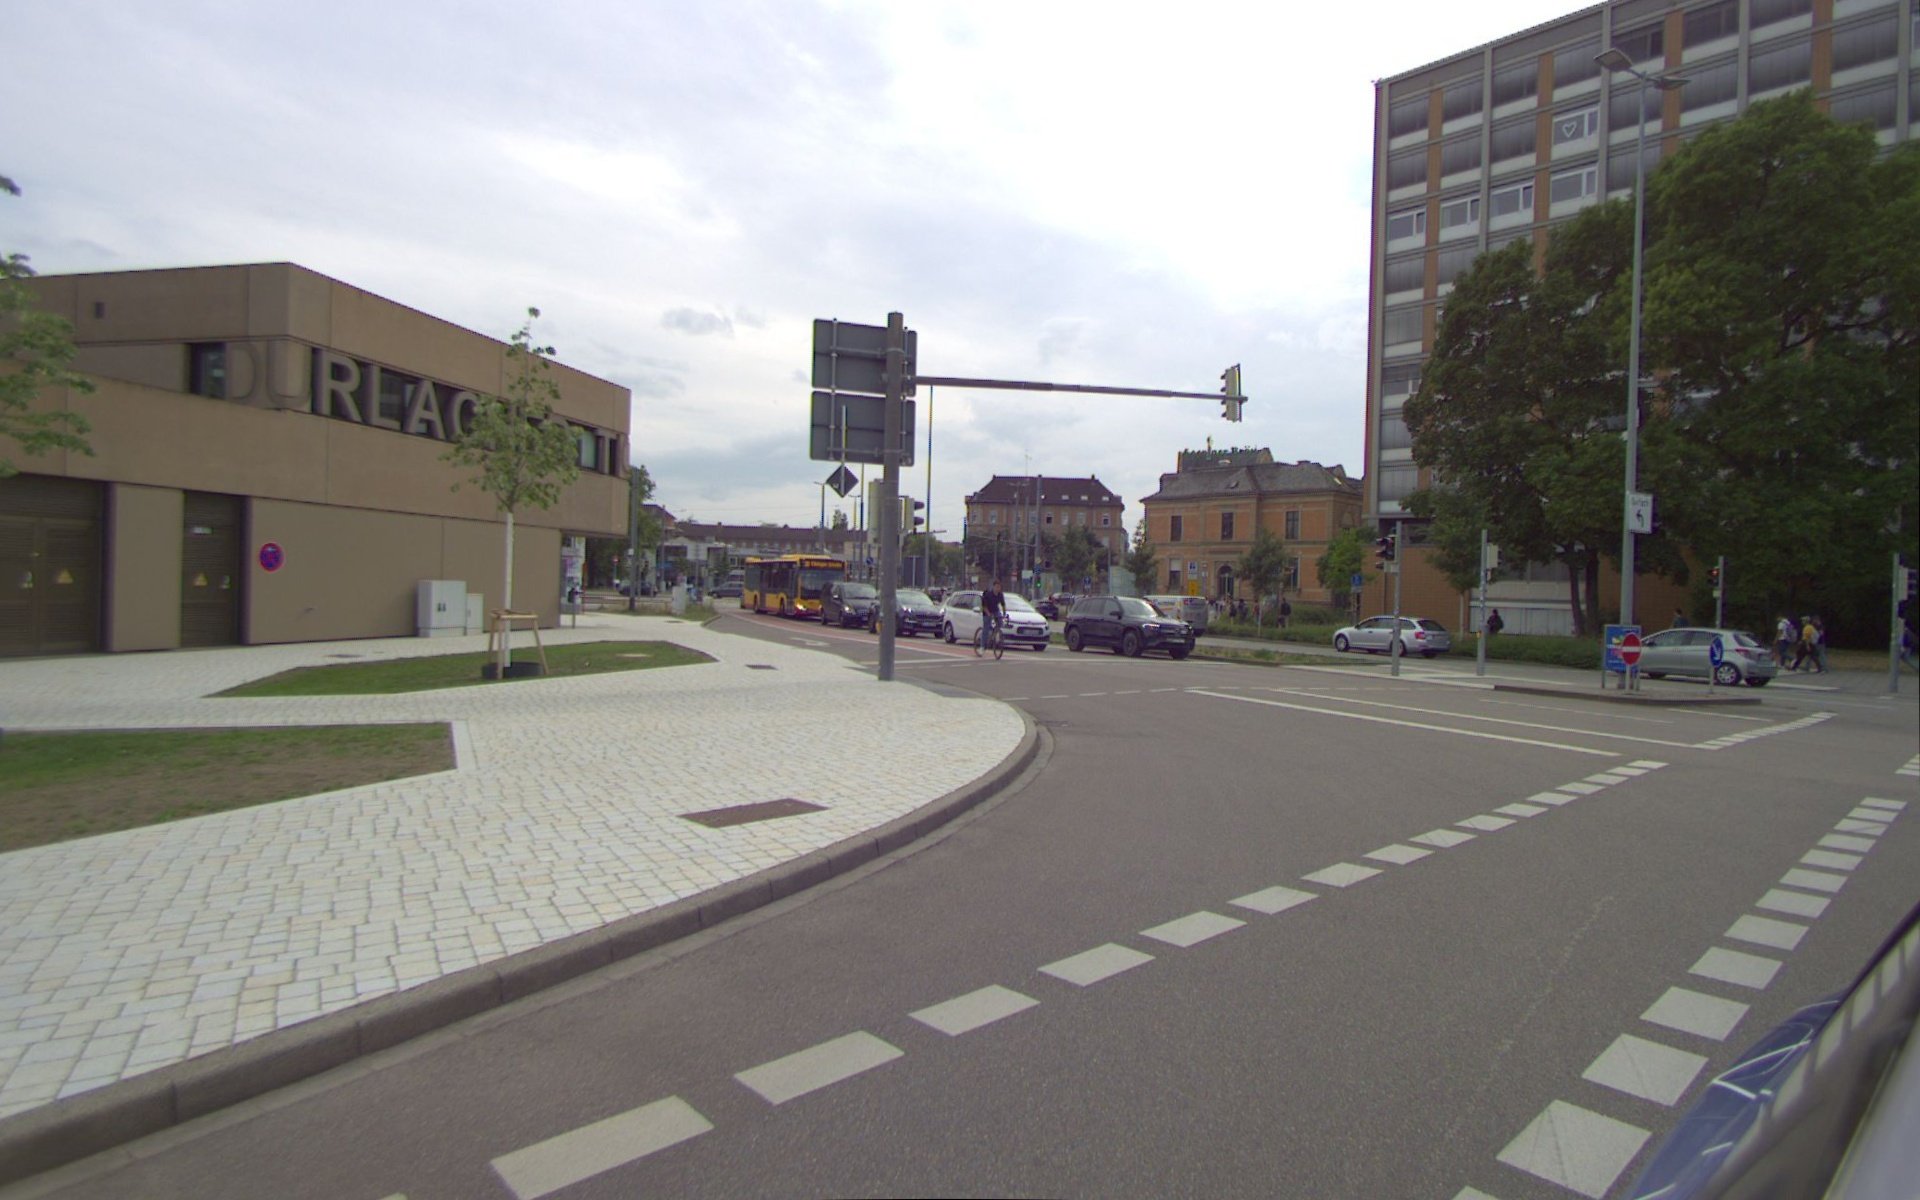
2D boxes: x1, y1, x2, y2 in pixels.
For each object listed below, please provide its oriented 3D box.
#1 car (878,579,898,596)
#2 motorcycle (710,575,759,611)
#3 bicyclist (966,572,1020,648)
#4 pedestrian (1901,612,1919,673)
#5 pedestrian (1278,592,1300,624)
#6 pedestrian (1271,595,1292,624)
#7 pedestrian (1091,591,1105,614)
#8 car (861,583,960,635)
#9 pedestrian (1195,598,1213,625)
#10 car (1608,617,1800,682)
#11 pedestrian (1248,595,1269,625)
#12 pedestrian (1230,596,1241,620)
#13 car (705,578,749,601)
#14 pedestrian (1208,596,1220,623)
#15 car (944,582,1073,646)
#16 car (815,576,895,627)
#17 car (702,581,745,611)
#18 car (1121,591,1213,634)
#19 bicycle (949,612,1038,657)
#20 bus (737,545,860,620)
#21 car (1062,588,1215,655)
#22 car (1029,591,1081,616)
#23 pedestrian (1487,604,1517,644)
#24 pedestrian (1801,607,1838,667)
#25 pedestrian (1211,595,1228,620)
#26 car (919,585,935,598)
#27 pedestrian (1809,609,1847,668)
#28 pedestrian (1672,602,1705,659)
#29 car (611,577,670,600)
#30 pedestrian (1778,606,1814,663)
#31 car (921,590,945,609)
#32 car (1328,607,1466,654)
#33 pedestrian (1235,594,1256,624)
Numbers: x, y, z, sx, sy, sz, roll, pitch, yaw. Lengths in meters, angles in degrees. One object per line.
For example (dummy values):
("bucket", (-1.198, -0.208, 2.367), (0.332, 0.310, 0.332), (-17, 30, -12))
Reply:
("car", (-8.691, -1.512, 122.433), (1.959, 1.948, 4.006), (3, -1, -9))
("motorcycle", (-14.060, -0.449, 62.867), (1.959, 2.039, 4.006), (3, -1, -27))
("bicyclist", (0.757, 0.226, 23.410), (0.852, 1.690, 0.882), (3, -1, -30))
("pedestrian", (27.609, 1.220, 29.084), (0.628, 1.732, 0.708), (-1, 1, -36))
("pedestrian", (17.130, 0.409, 52.694), (0.764, 1.593, 0.814), (0, 1, -17))
("pedestrian", (17.980, 0.549, 56.618), (0.764, 1.593, 0.814), (0, 1, -13))
("pedestrian", (9.696, 0.150, 71.176), (0.764, 1.593, 0.814), (0, 1, -13))
("car", (-1.837, 0.289, 36.085), (1.958, 1.672, 4.298), (3, -1, -25))
("pedestrian", (14.788, 0.702, 61.387), (0.764, 1.593, 0.814), (0, 1, -13))
("car", (20.212, 1.301, 27.673), (1.637, 1.508, 3.882), (3, -1, -26))
("pedestrian", (16.403, 0.555, 55.665), (0.764, 1.593, 0.814), (0, 1, -17))
("pedestrian", (15.723, 0.469, 57.686), (0.541, 1.358, 0.548), (0, 1, 9))
("car", (-23.357, -1.045, 101.562), (3.922, 2.039, 2.001), (3, -1, -3))
("pedestrian", (15.027, 0.556, 59.844), (0.546, 1.555, 0.543), (1, 1, 31))
("car", (1.320, 0.380, 29.704), (1.958, 1.672, 4.298), (3, -1, -25))
("car", (-4.440, 0.029, 42.147), (1.958, 1.923, 4.298), (3, -1, -25))
("car", (-16.197, -0.274, 69.097), (1.958, 1.923, 4.298), (3, -1, -25))
("car", (10.350, 0.584, 50.993), (1.787, 1.984, 5.215), (3, -1, -23))
("bicycle", (0.731, 0.781, 23.421), (0.847, 0.888, 2.522), (3, -1, -29))
("bus", (-8.594, -0.841, 52.060), (3.092, 3.296, 12.436), (3, -1, -23))
("car", (4.907, 0.550, 28.481), (1.958, 1.672, 4.520), (3, -1, -25))
("car", (6.199, 0.212, 66.556), (1.824, 1.552, 4.010), (3, -1, -20))
("pedestrian", (22.125, 0.969, 41.287), (0.766, 1.593, 0.812), (0, 1, -36))
("pedestrian", (25.470, 1.084, 29.996), (0.628, 1.732, 0.708), (1, 0, -36))
("pedestrian", (16.907, 0.509, 65.920), (0.764, 1.593, 0.814), (0, 1, -13))
("car", (-4.456, -1.091, 136.387), (1.804, 1.635, 3.549), (3, -1, -5))
("pedestrian", (26.059, 1.152, 30.392), (0.628, 1.733, 0.708), (4, -1, -36))
("pedestrian", (24.696, 1.026, 34.314), (0.628, 1.876, 0.708), (1, 0, -36))
("car", (-25.538, -0.949, 80.948), (3.956, 1.594, 1.997), (4, -1, -41))
("pedestrian", (26.247, 1.069, 31.781), (0.628, 1.732, 0.708), (2, 0, -36))
("car", (-3.197, -0.039, 117.207), (1.958, 2.039, 4.007), (3, -1, -12))
("car", (15.873, 1.076, 37.043), (1.787, 1.493, 4.536), (3, -1, -26))
("pedestrian", (15.428, 0.495, 54.766), (0.764, 1.593, 0.814), (0, 1, -17))
